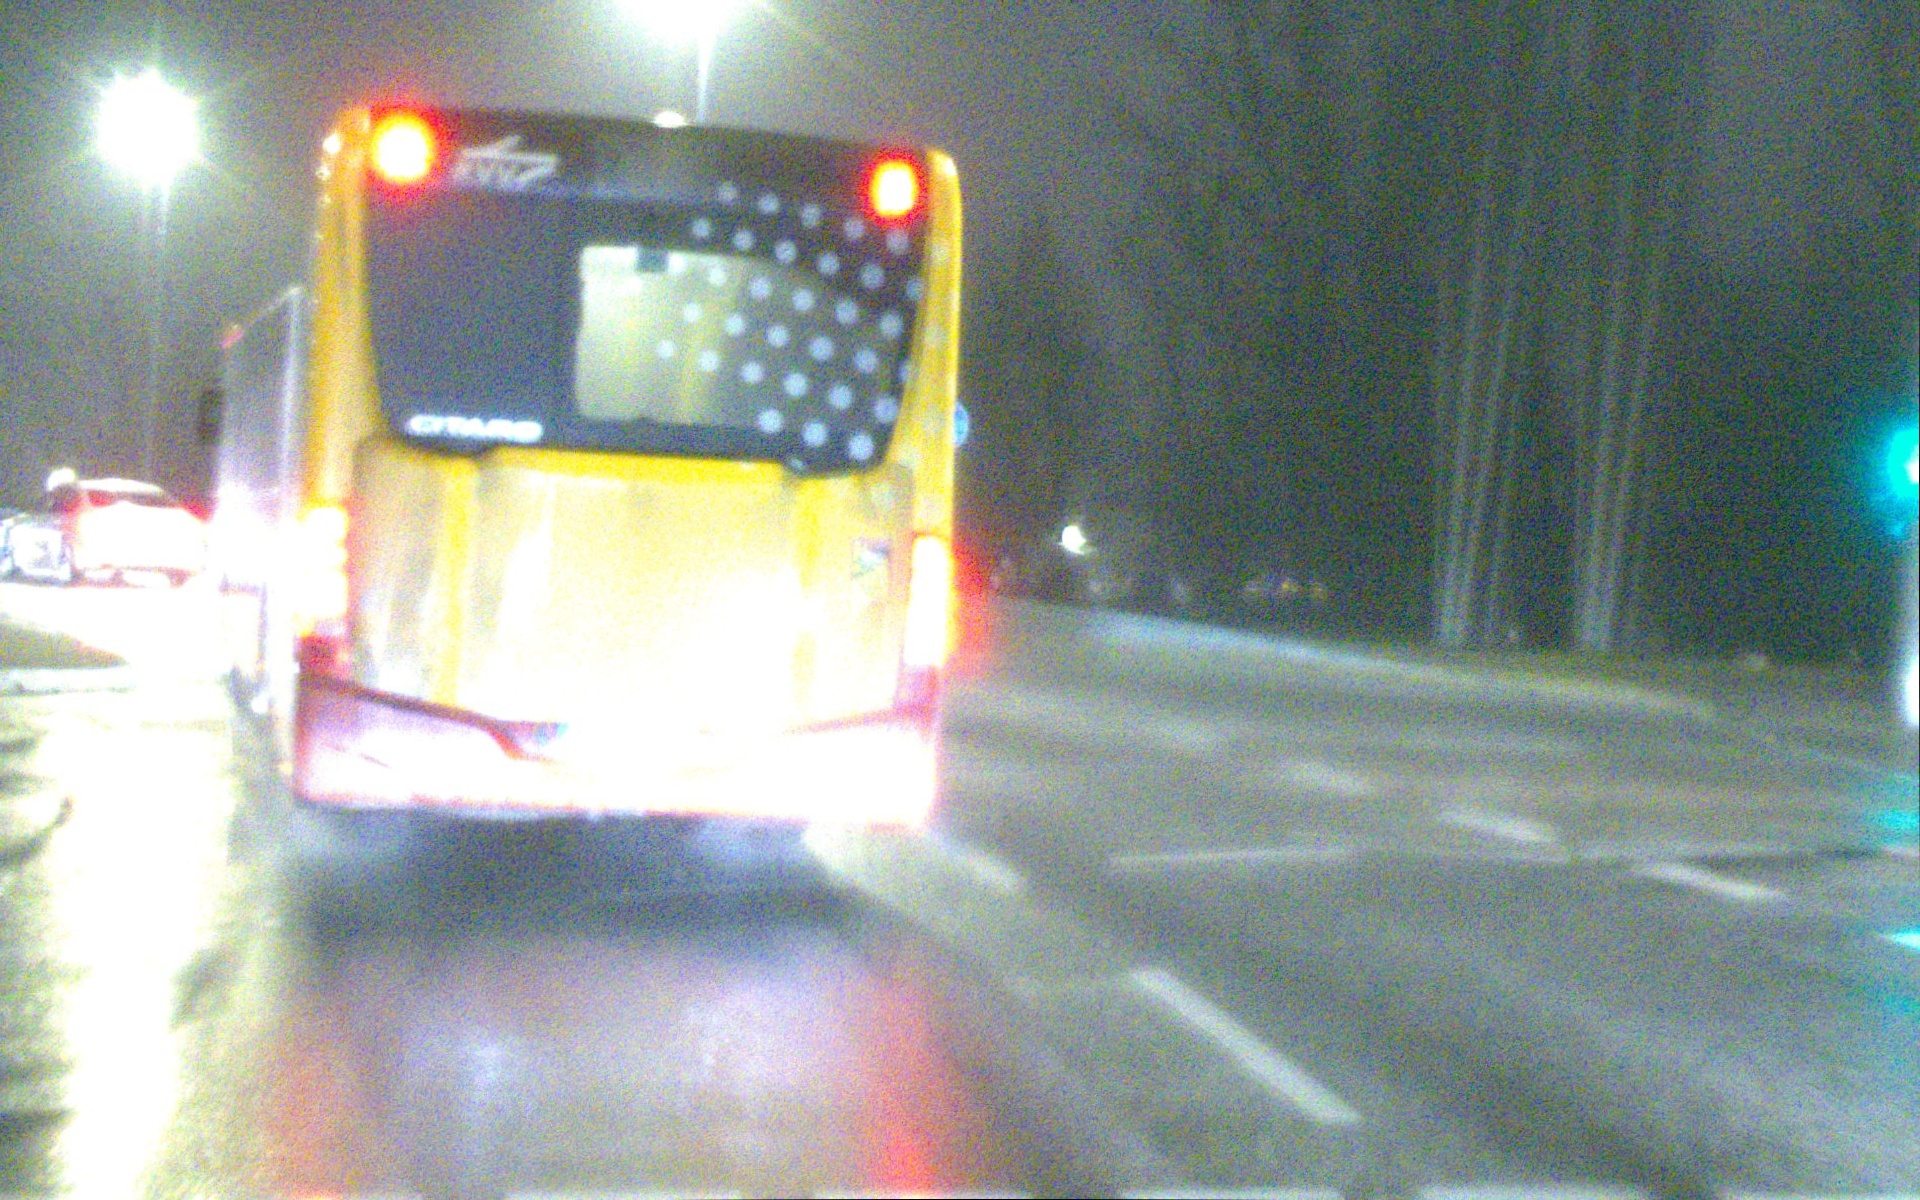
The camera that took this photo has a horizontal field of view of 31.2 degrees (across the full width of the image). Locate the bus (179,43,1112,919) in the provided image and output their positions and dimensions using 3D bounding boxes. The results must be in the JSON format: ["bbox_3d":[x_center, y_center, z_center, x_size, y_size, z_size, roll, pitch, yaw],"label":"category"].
[{"bbox_3d":[-2.060,-0.536,17.269,3.284,3.040,9.547,3,1,-12],"label":"bus"}]

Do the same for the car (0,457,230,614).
[{"bbox_3d":[-12.069,-0.923,48.501,1.993,2.007,4.349,4,0,-32],"label":"car"}]

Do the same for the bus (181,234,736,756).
[{"bbox_3d":[-4.133,-0.830,26.203,3.246,3.109,8.648,4,2,-13],"label":"bus"}]
